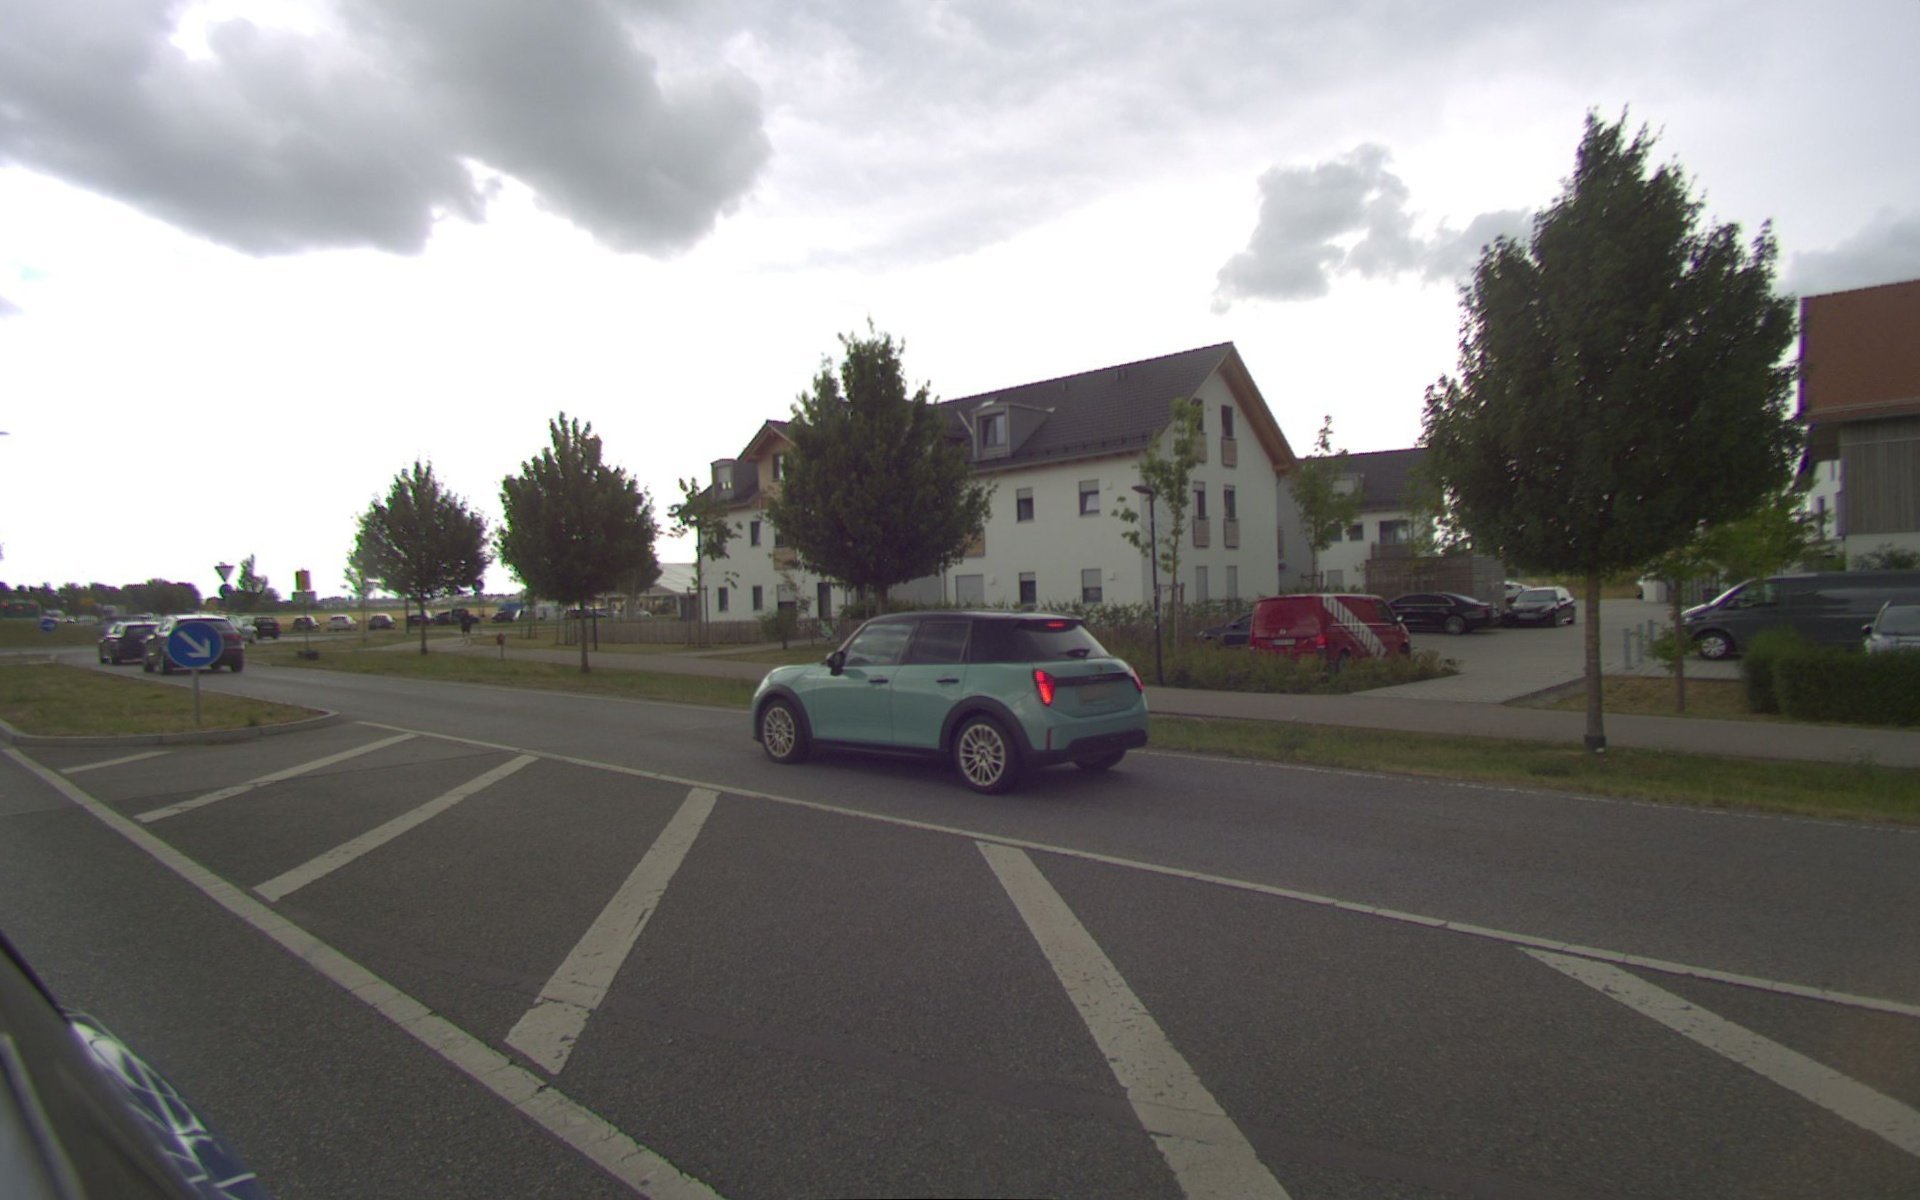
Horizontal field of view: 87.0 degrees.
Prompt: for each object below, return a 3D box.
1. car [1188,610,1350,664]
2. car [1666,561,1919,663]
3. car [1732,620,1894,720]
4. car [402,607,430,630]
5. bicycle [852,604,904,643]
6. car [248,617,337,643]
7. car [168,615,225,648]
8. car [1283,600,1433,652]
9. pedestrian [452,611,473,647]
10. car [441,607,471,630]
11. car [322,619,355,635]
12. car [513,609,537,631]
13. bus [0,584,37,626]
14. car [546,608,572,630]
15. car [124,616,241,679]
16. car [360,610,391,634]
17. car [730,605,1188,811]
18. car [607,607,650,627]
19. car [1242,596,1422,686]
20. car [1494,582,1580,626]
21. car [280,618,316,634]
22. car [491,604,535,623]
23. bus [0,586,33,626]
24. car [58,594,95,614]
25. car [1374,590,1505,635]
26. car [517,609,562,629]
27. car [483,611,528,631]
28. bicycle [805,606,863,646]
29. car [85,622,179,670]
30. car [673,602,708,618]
[{"bbox_3d":[8.759,1.035,28.858,3.998,1.431,1.856,-2,-1,41],"label":"car"},{"bbox_3d":[19.427,0.264,23.037,5.202,2.028,1.972,-2,3,44],"label":"car"},{"bbox_3d":[14.950,1.113,17.686,1.906,1.441,4.853,-2,-1,42],"label":"car"},{"bbox_3d":[-48.600,1.680,90.493,1.965,2.029,4.013,0,-1,-24],"label":"car"},{"bbox_3d":[-3.097,0.883,38.004,2.093,1.439,0.675,-2,-1,41],"label":"bicycle"},{"bbox_3d":[-41.134,1.818,62.466,1.822,1.500,4.297,-1,-1,27],"label":"car"},{"bbox_3d":[-36.665,1.505,48.561,1.803,1.500,4.220,0,-1,-42],"label":"car"},{"bbox_3d":[12.534,0.812,31.981,3.998,1.519,1.973,-2,-1,41],"label":"car"},{"bbox_3d":[-21.465,1.251,43.670,0.586,1.541,0.540,-2,1,41],"label":"pedestrian"},{"bbox_3d":[-45.652,1.709,91.563,1.966,2.029,4.011,0,-1,-34],"label":"car"},{"bbox_3d":[-54.183,2.352,88.233,1.965,1.298,4.013,0,-1,-24],"label":"car"},{"bbox_3d":[-41.421,1.886,96.408,1.965,2.029,4.013,-1,-1,-21],"label":"car"},{"bbox_3d":[-78.018,0.421,83.165,6.488,3.305,2.950,-2,-1,45],"label":"bus"},{"bbox_3d":[-38.168,1.834,96.433,2.194,2.029,4.013,-1,-1,-21],"label":"car"},{"bbox_3d":[-21.555,1.286,28.000,4.214,1.594,1.806,-2,-1,42],"label":"car"},{"bbox_3d":[-51.741,1.937,89.624,1.965,2.029,4.013,0,-1,-24],"label":"car"},{"bbox_3d":[-0.162,0.813,9.166,3.998,1.454,1.751,-2,-1,41],"label":"car"},{"bbox_3d":[-33.587,1.728,102.623,1.991,2.029,3.961,-1,-1,29],"label":"car"},{"bbox_3d":[8.567,0.862,23.074,4.848,1.830,1.908,0,-1,-44],"label":"car"},{"bbox_3d":[22.160,0.168,38.826,2.000,1.598,3.943,-2,-1,43],"label":"car"},{"bbox_3d":[-57.005,2.260,87.226,1.965,1.298,4.013,0,-1,-24],"label":"car"},{"bbox_3d":[-49.103,1.447,111.226,1.991,2.029,3.961,-1,-1,29],"label":"car"},{"bbox_3d":[-82.696,0.559,87.847,6.705,3.305,2.950,-2,-1,45],"label":"bus"},{"bbox_3d":[-70.013,0.347,80.172,3.998,1.454,1.751,-2,-1,41],"label":"car"},{"bbox_3d":[17.326,0.501,36.671,4.001,1.538,1.551,-2,-3,45],"label":"car"},{"bbox_3d":[-43.945,1.946,105.734,1.994,2.029,3.956,-2,-1,32],"label":"car"},{"bbox_3d":[-47.735,2.239,106.369,1.991,2.029,3.961,-1,-1,29],"label":"car"},{"bbox_3d":[-4.599,0.935,36.797,2.342,1.423,0.675,-2,-1,41],"label":"bicycle"},{"bbox_3d":[-28.131,1.515,34.354,4.348,1.500,1.806,-2,-1,42],"label":"car"},{"bbox_3d":[-36.109,1.322,135.785,1.991,2.029,4.523,-1,-1,28],"label":"car"}]
